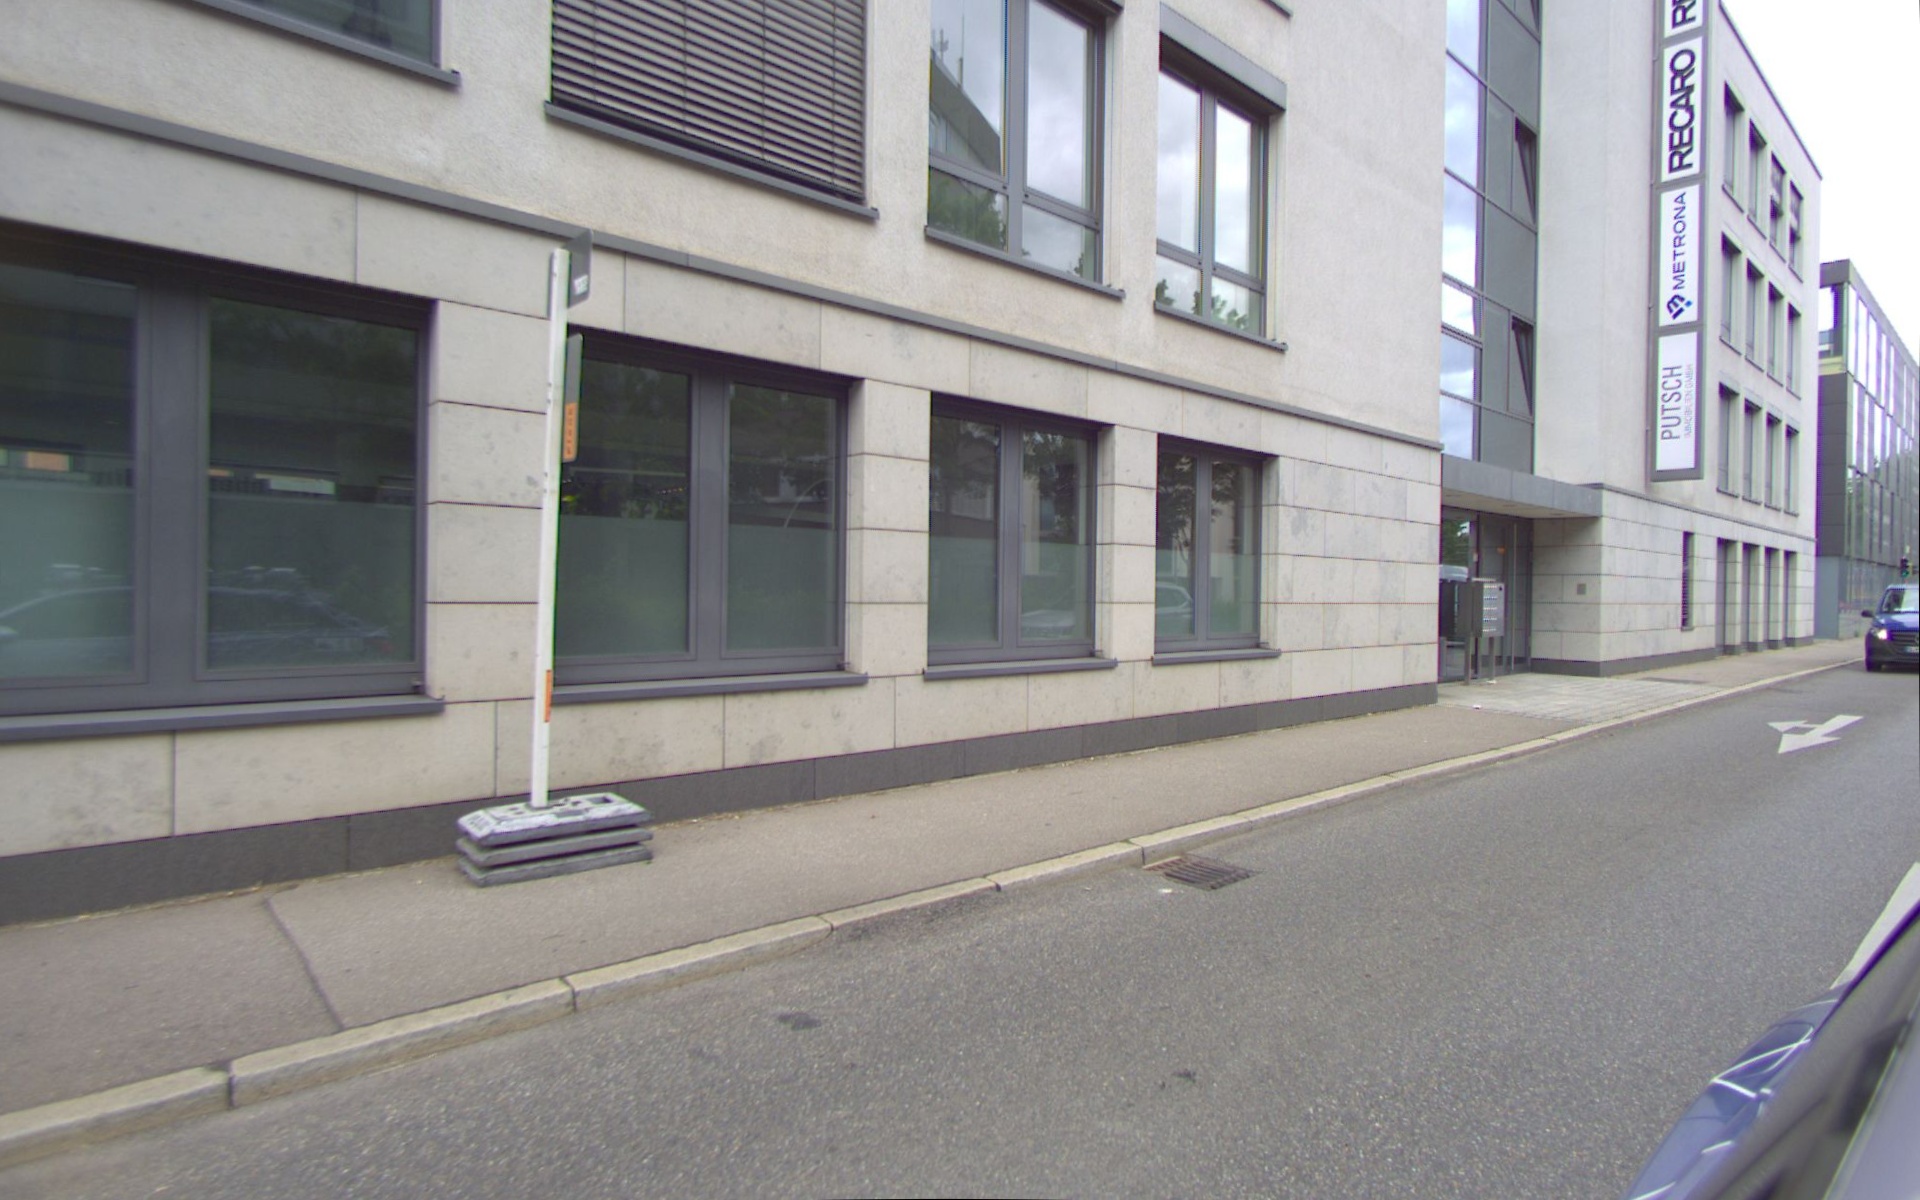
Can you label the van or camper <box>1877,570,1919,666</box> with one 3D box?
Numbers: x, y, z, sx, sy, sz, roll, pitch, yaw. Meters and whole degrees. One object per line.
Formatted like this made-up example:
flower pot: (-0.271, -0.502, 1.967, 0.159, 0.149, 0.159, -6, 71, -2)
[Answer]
van or camper: (21.453, 0.356, 21.874, 4.944, 1.935, 1.863, 0, 1, -41)
